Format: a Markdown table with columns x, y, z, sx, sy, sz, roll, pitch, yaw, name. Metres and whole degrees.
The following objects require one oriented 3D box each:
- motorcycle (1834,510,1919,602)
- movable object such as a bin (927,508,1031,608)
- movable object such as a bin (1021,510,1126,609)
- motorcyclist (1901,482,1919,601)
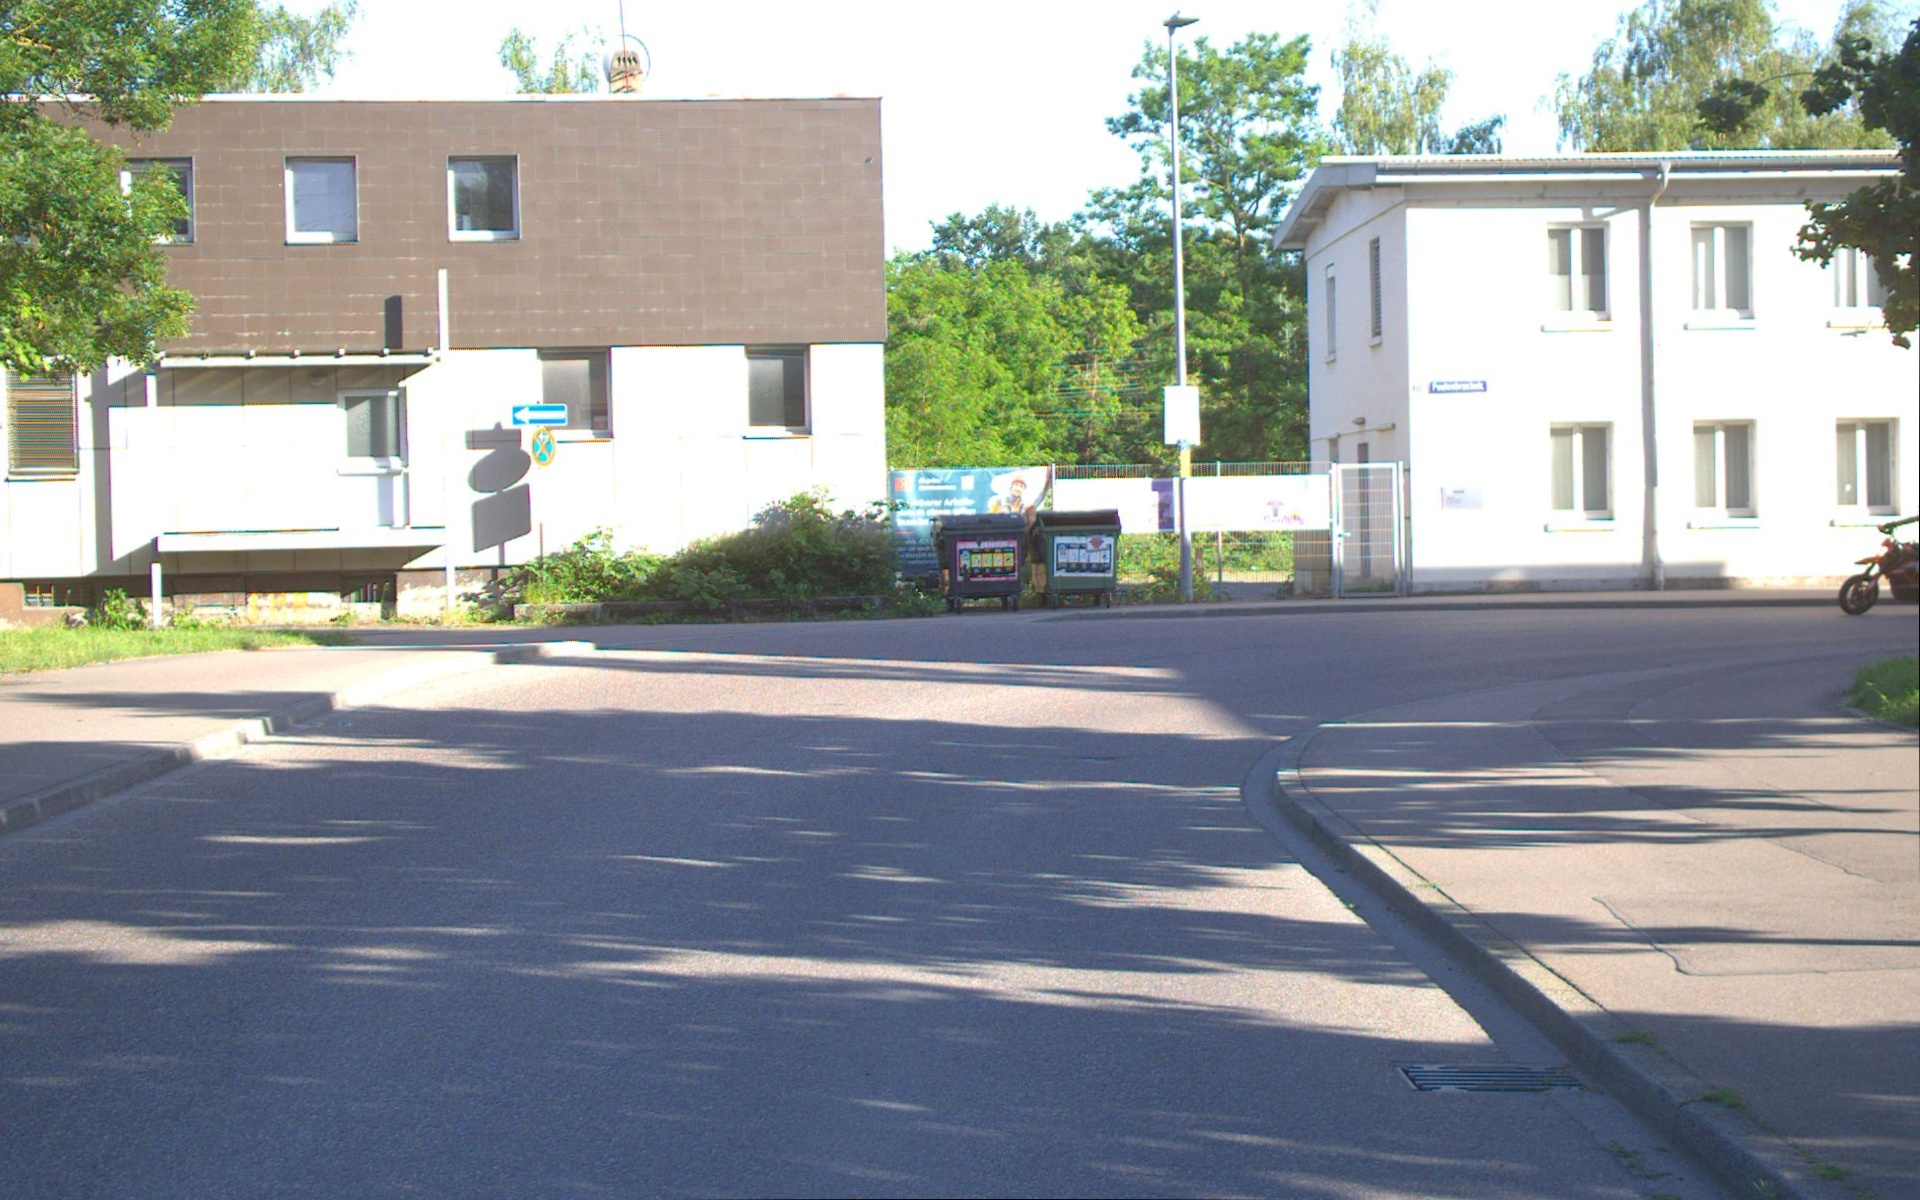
| x | y | z | sx | sy | sz | roll | pitch | yaw | name |
| --- | --- | --- | --- | --- | --- | --- | --- | --- | --- |
| 12.720 | -0.596 | 45.506 | 2.029 | 1.182 | 0.963 | -1 | 2 | -7 | motorcycle |
| 0.275 | -0.612 | 50.245 | 1.364 | 1.413 | 1.066 | 1 | 0 | -7 | movable object such as a bin |
| 1.661 | -0.595 | 50.592 | 1.364 | 1.413 | 1.066 | 1 | 0 | -7 | movable object such as a bin |
| 13.086 | -0.775 | 45.536 | 0.895 | 1.548 | 1.031 | -1 | 3 | -5 | motorcyclist |
